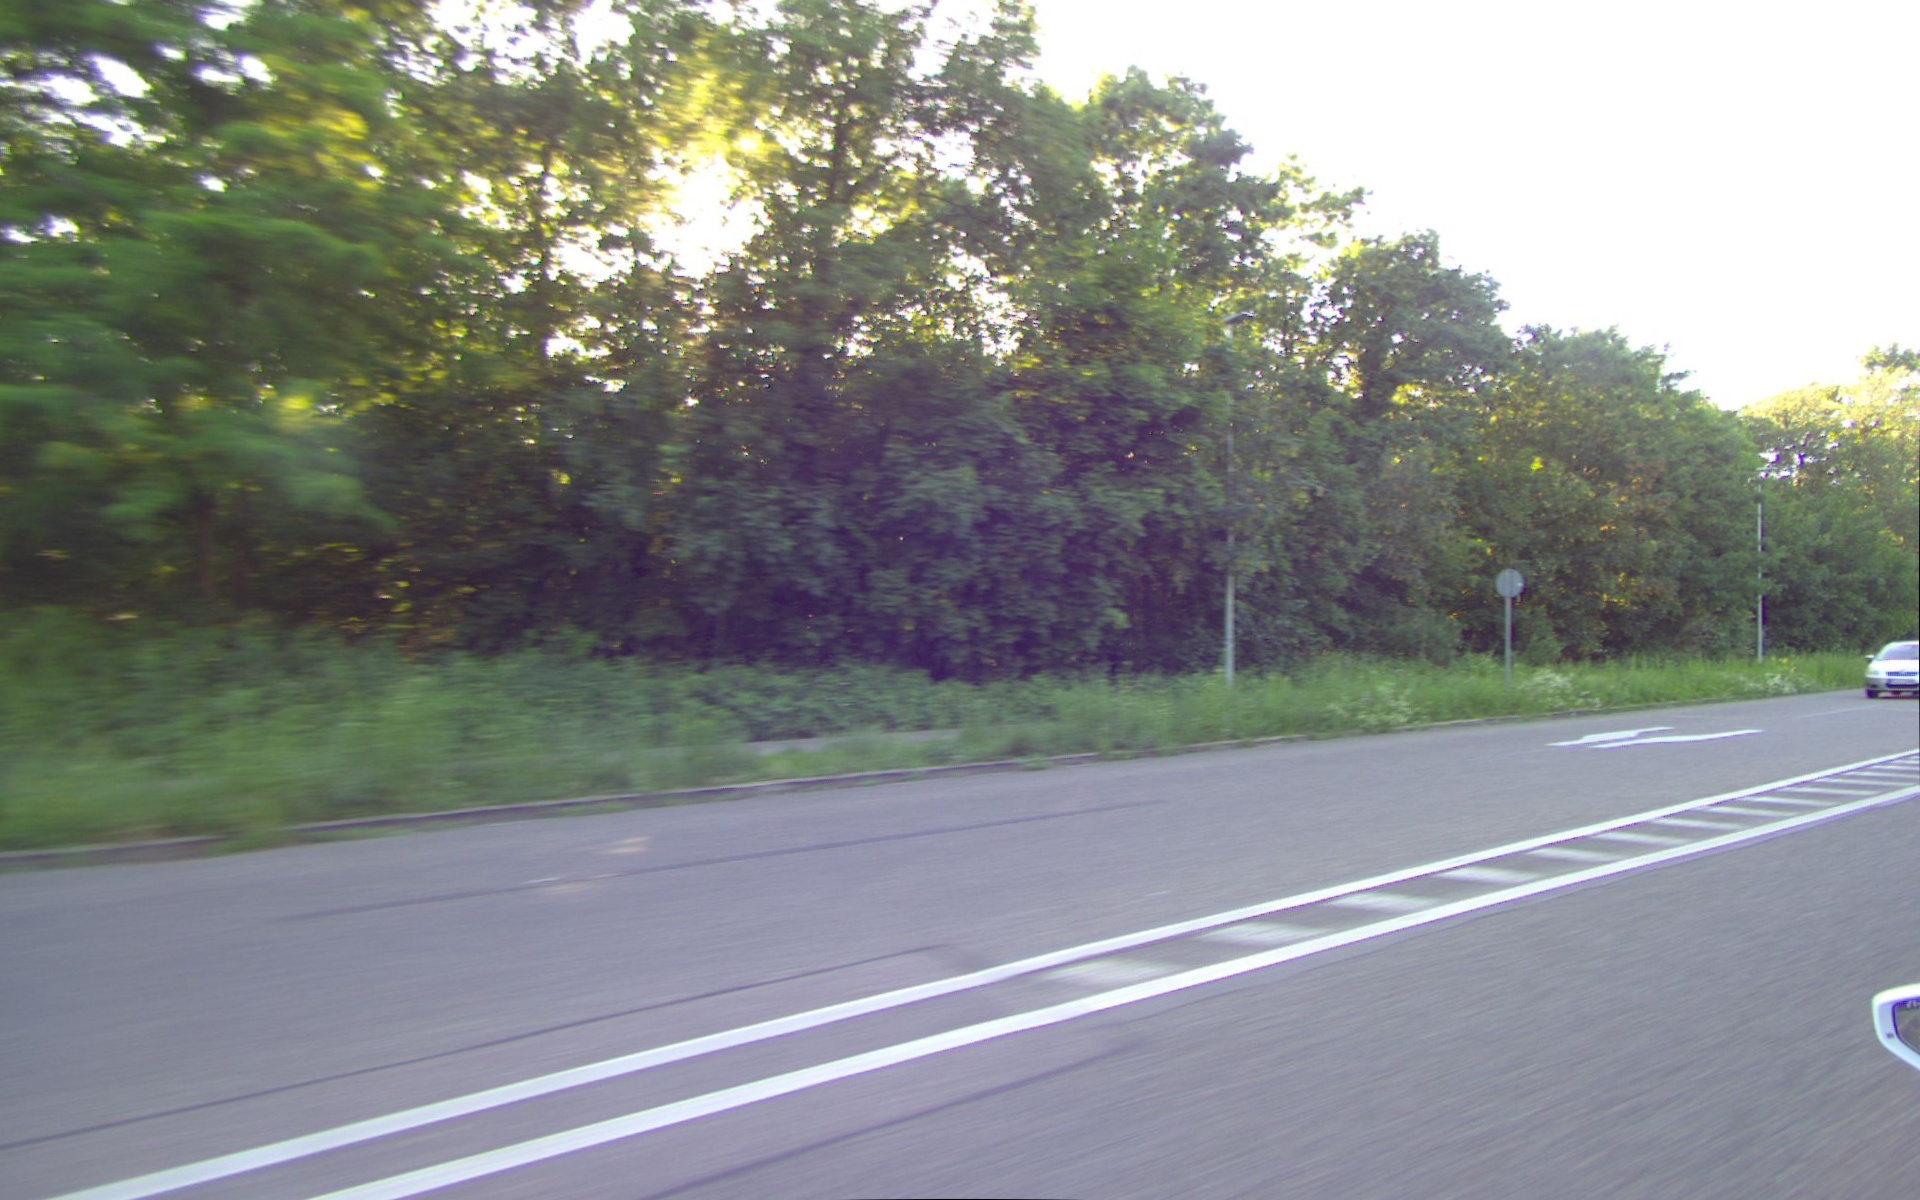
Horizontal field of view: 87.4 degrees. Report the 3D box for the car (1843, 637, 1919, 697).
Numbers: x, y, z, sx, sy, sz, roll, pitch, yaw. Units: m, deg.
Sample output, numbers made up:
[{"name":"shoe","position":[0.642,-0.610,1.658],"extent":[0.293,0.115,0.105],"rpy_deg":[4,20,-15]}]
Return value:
[{"name":"car","position":[25.262,1.748,26.526],"extent":[4.434,1.474,1.818],"rpy_deg":[2,-4,-34]}]
